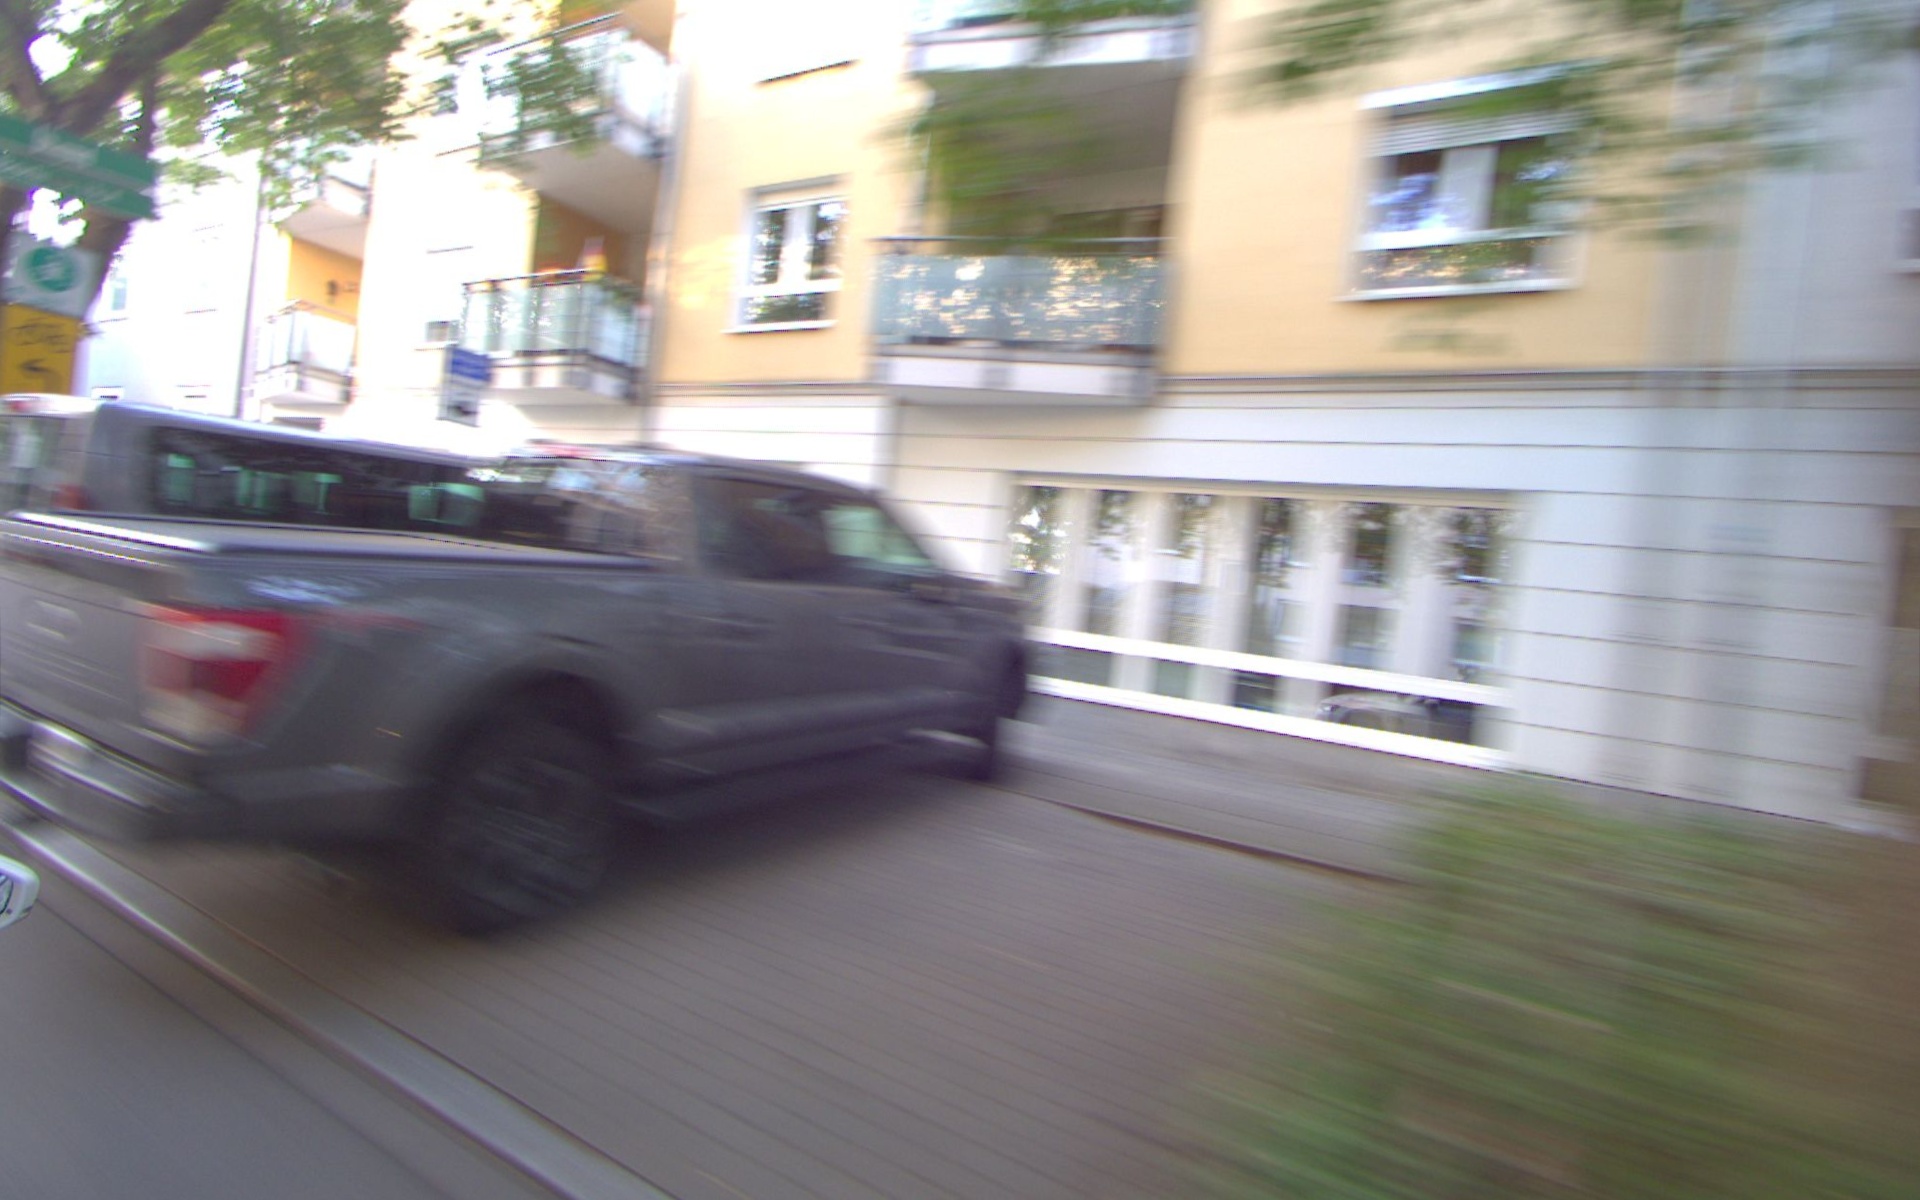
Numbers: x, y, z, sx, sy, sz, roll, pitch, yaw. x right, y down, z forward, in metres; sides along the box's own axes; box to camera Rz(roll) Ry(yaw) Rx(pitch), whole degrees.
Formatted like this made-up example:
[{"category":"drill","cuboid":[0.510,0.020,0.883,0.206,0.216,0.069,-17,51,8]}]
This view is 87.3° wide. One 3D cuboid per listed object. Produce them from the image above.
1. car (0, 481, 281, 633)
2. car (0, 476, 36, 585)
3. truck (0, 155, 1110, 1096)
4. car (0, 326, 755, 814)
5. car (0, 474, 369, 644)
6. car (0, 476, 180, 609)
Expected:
[{"category":"car","cuboid":[-11.327,-0.614,12.091,1.959,1.539,4.788,7,-1,33]},{"category":"car","cuboid":[-15.790,-1.235,14.252,1.801,1.583,3.544,7,0,31]},{"category":"truck","cuboid":[-1.474,0.182,5.575,2.176,2.339,5.895,7,0,32]},{"category":"car","cuboid":[-3.863,-0.084,6.815,2.160,2.092,4.606,7,0,30]},{"category":"car","cuboid":[-9.201,-0.442,10.672,1.928,1.521,4.627,7,0,30]},{"category":"car","cuboid":[-13.423,-0.933,13.138,1.977,1.590,4.629,7,-1,31]}]
